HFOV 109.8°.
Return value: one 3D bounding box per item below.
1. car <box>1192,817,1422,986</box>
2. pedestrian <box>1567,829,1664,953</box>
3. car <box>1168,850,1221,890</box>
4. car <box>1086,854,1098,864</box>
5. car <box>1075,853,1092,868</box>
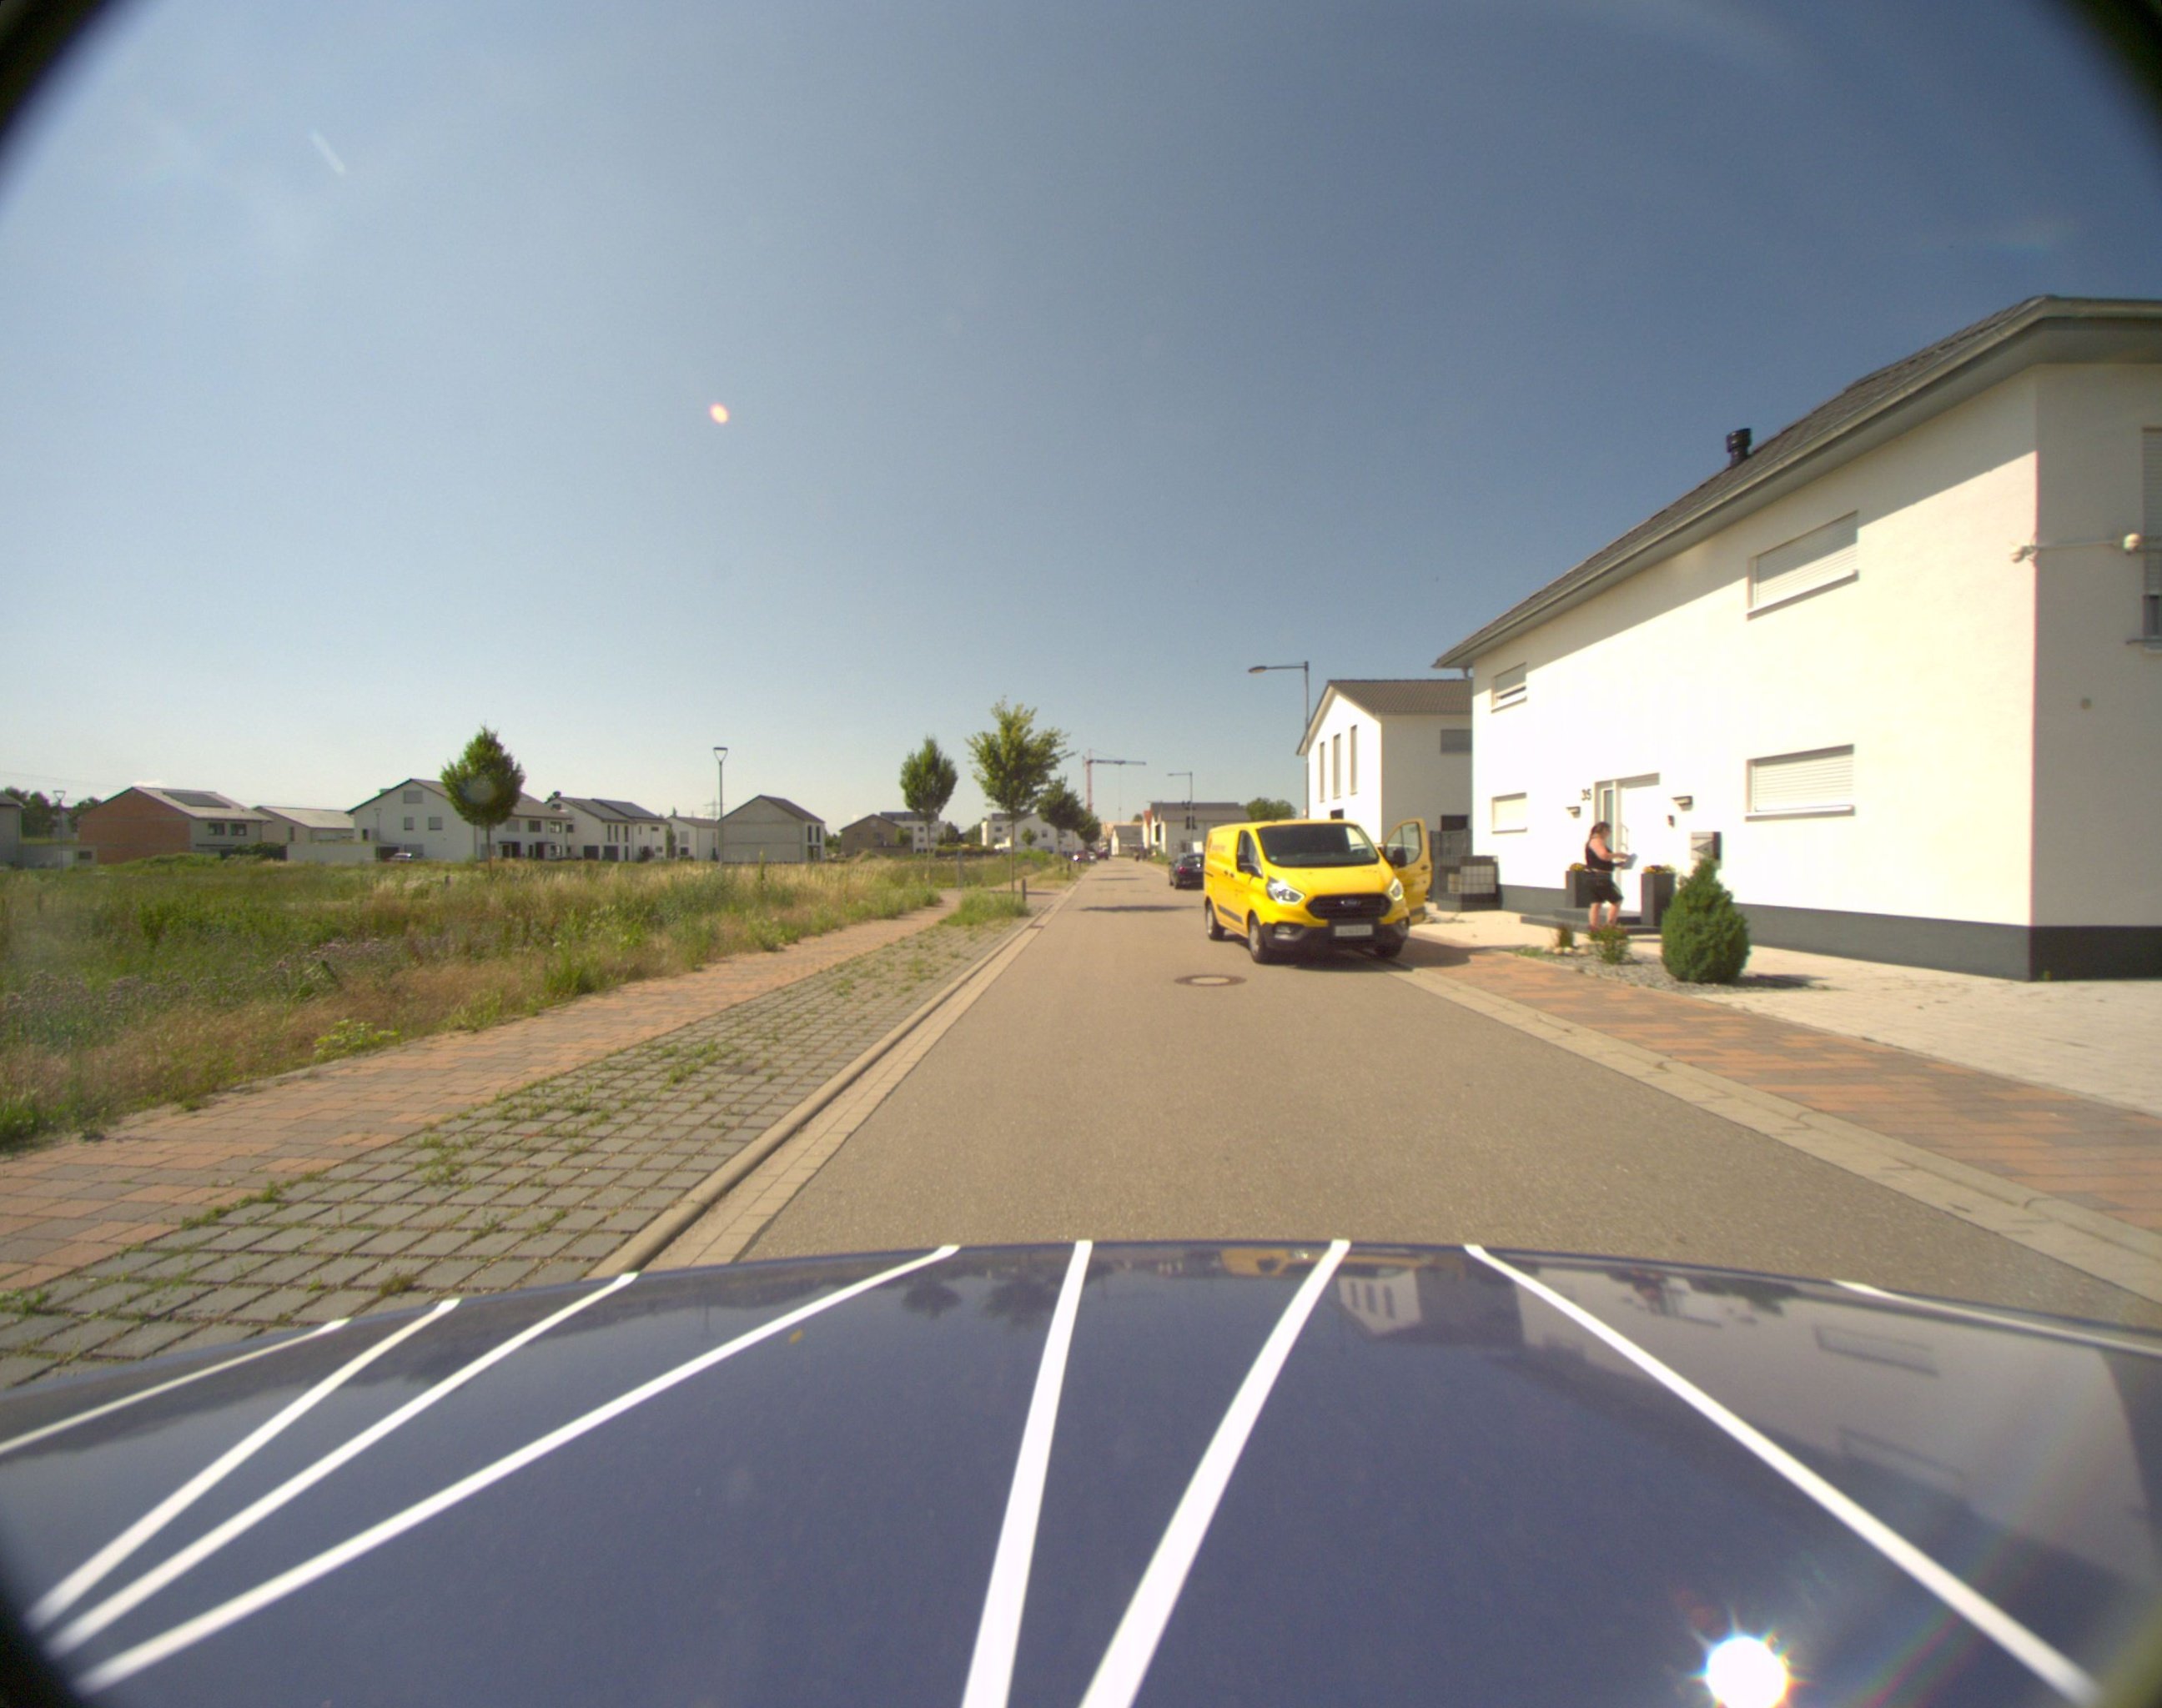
[{"bbox_3d":[3.110,0.558,11.659,1.889,2.002,4.839,-2,1,-2],"label":"car"},{"bbox_3d":[7.545,0.511,10.755,0.931,1.675,0.537,-3,1,12],"label":"pedestrian"},{"bbox_3d":[4.608,0.618,31.409,1.694,1.464,4.445,-2,1,3],"label":"car"},{"bbox_3d":[1.535,0.660,103.112,1.493,1.389,3.272,-1,1,2],"label":"car"},{"bbox_3d":[0.279,0.706,83.094,1.768,1.483,4.000,-1,1,2],"label":"car"}]
